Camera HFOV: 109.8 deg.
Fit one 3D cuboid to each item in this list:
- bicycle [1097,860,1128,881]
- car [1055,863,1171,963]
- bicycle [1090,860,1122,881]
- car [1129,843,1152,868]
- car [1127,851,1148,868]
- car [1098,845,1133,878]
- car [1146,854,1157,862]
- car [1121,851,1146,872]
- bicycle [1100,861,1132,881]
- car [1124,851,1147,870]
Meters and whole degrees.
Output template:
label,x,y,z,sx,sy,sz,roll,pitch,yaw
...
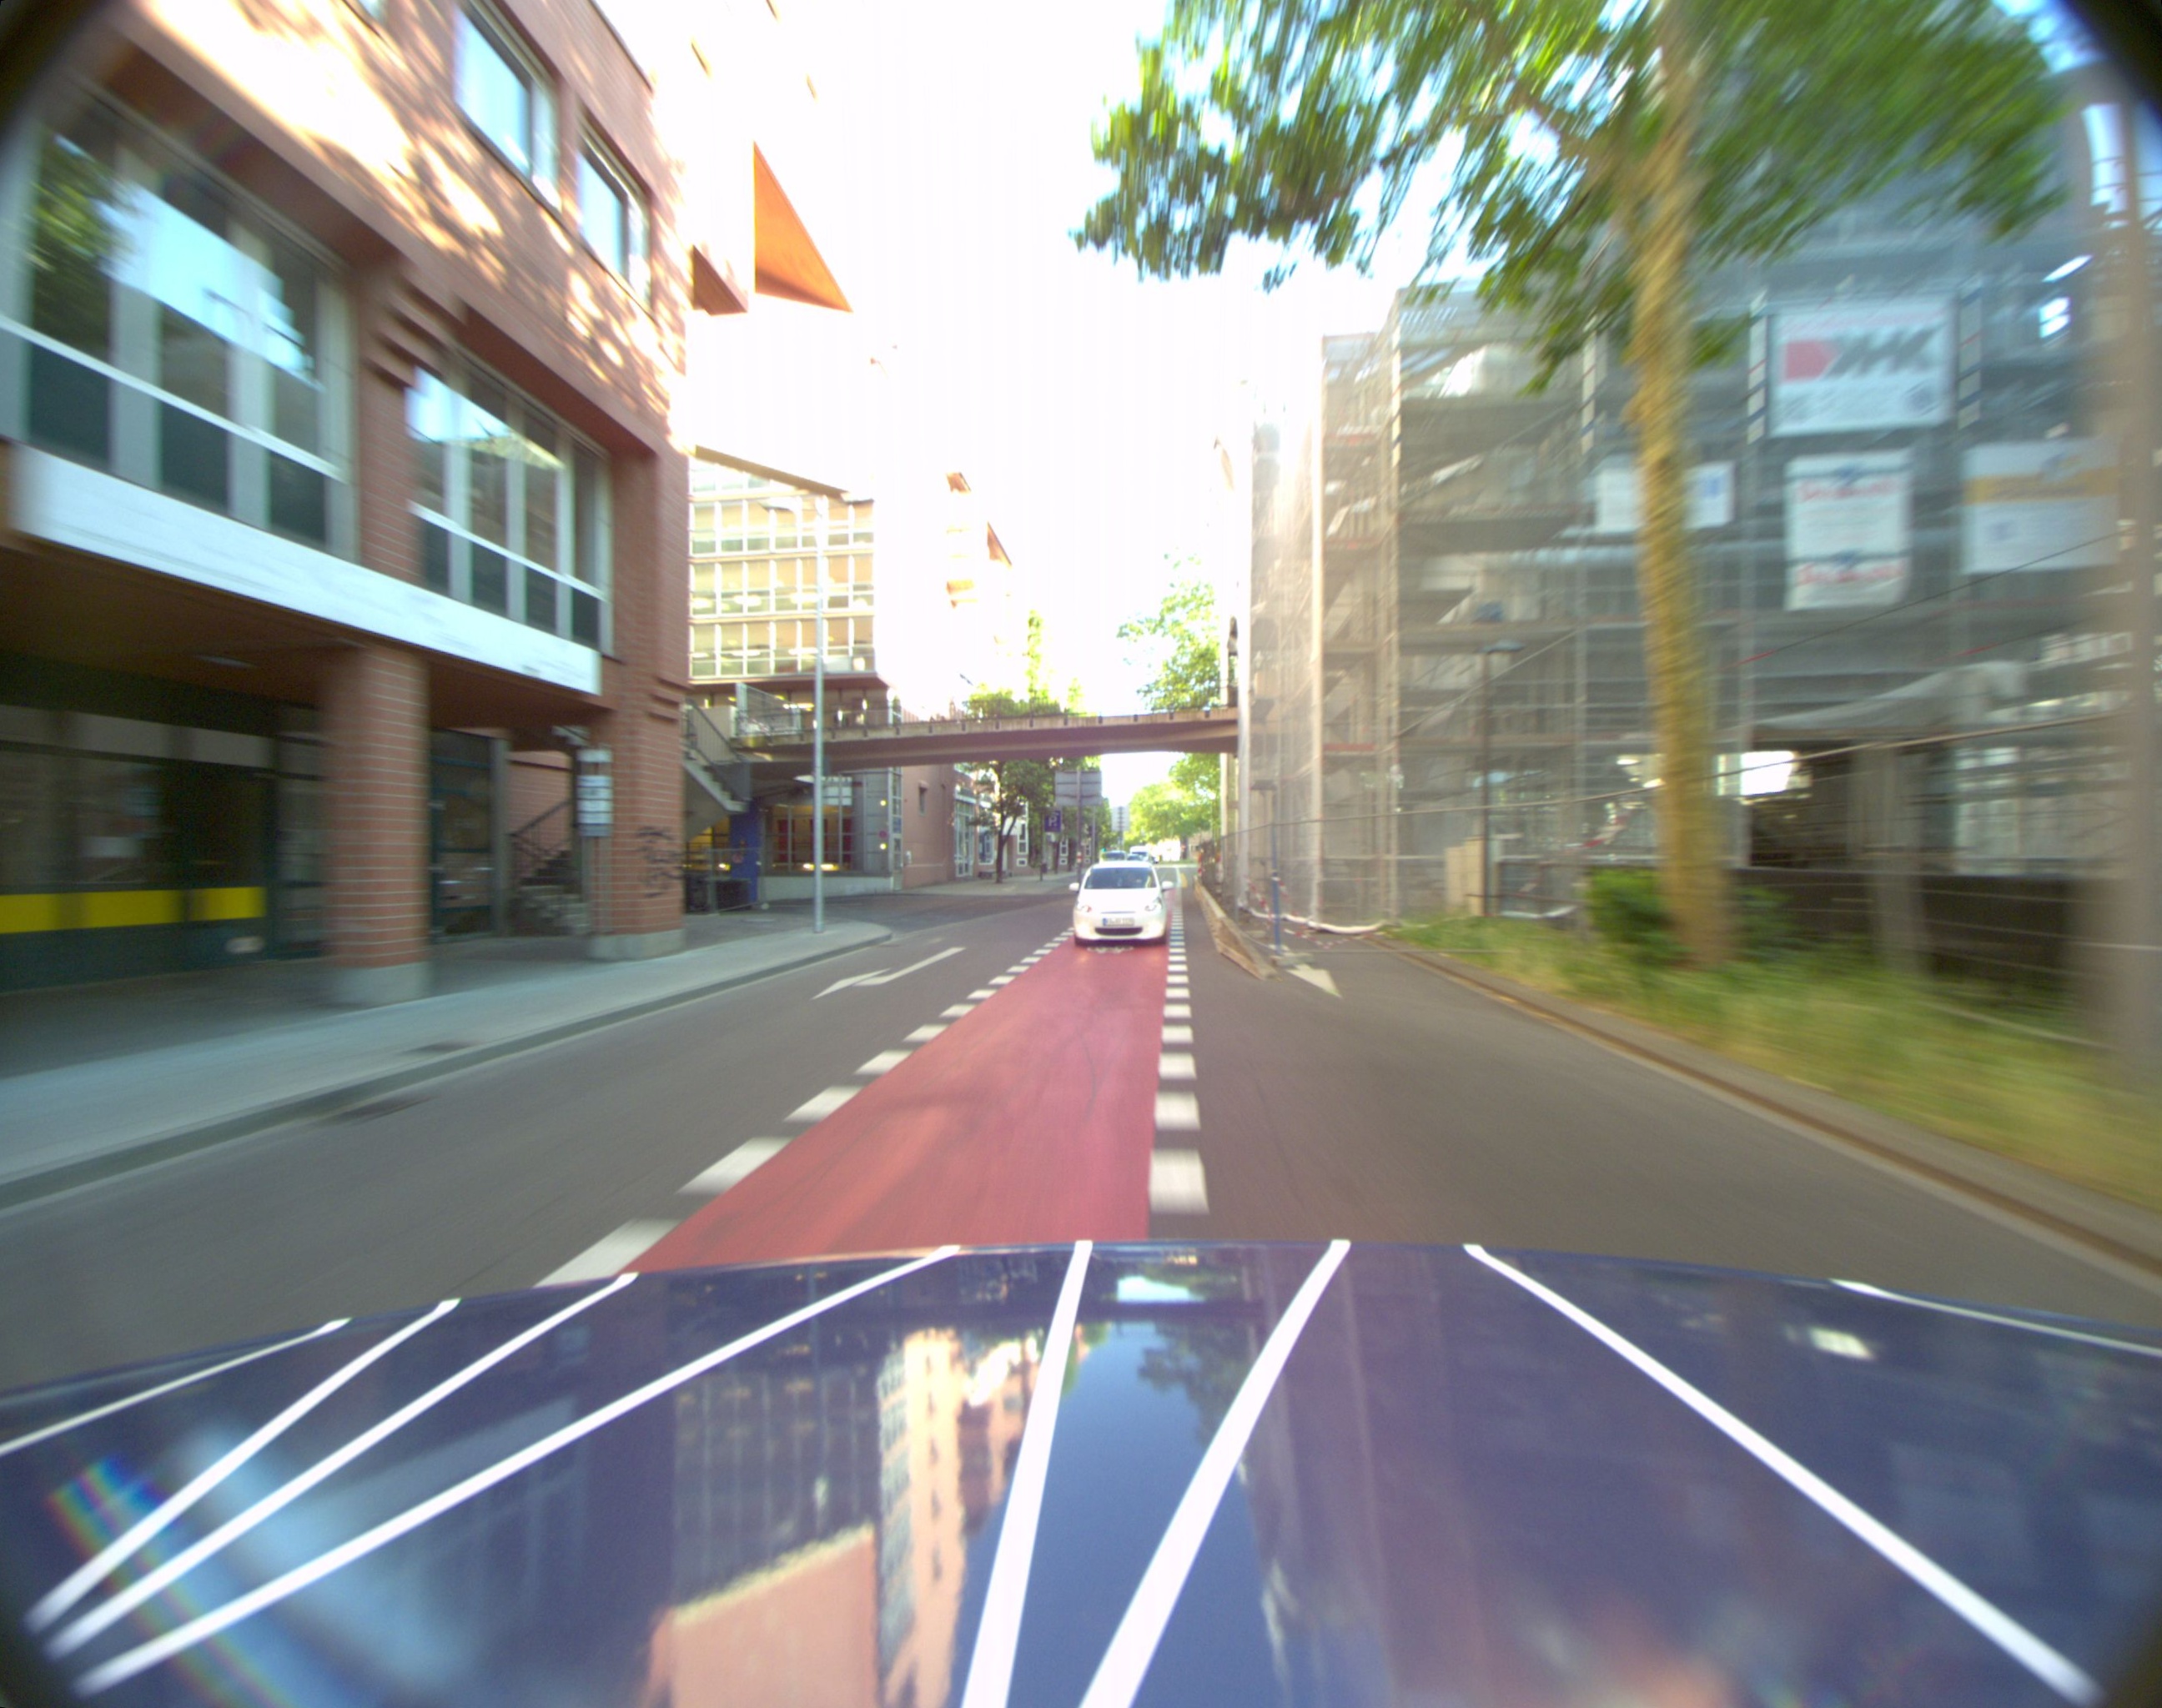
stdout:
label,x,y,z,sx,sy,sz,roll,pitch,yaw
bicycle,1.631,0.839,39.664,1.678,1.061,0.502,-1,1,41
car,0.641,0.952,14.036,1.808,1.492,4.201,0,0,4
bicycle,1.264,0.851,38.969,1.678,1.061,0.502,-1,1,41
car,6.307,0.111,79.745,2.119,2.550,5.908,0,0,7
car,5.502,0.548,73.135,1.832,1.570,4.002,0,0,6
car,2.338,0.444,49.760,1.922,2.066,5.172,0,0,6
car,13.797,0.763,147.981,1.997,1.524,4.001,-2,1,6
car,4.304,0.565,62.016,1.791,1.660,4.442,0,0,6
bicycle,1.930,0.925,41.886,1.678,1.061,0.512,-1,1,30
car,4.842,0.562,67.144,1.832,1.570,4.002,0,0,6
